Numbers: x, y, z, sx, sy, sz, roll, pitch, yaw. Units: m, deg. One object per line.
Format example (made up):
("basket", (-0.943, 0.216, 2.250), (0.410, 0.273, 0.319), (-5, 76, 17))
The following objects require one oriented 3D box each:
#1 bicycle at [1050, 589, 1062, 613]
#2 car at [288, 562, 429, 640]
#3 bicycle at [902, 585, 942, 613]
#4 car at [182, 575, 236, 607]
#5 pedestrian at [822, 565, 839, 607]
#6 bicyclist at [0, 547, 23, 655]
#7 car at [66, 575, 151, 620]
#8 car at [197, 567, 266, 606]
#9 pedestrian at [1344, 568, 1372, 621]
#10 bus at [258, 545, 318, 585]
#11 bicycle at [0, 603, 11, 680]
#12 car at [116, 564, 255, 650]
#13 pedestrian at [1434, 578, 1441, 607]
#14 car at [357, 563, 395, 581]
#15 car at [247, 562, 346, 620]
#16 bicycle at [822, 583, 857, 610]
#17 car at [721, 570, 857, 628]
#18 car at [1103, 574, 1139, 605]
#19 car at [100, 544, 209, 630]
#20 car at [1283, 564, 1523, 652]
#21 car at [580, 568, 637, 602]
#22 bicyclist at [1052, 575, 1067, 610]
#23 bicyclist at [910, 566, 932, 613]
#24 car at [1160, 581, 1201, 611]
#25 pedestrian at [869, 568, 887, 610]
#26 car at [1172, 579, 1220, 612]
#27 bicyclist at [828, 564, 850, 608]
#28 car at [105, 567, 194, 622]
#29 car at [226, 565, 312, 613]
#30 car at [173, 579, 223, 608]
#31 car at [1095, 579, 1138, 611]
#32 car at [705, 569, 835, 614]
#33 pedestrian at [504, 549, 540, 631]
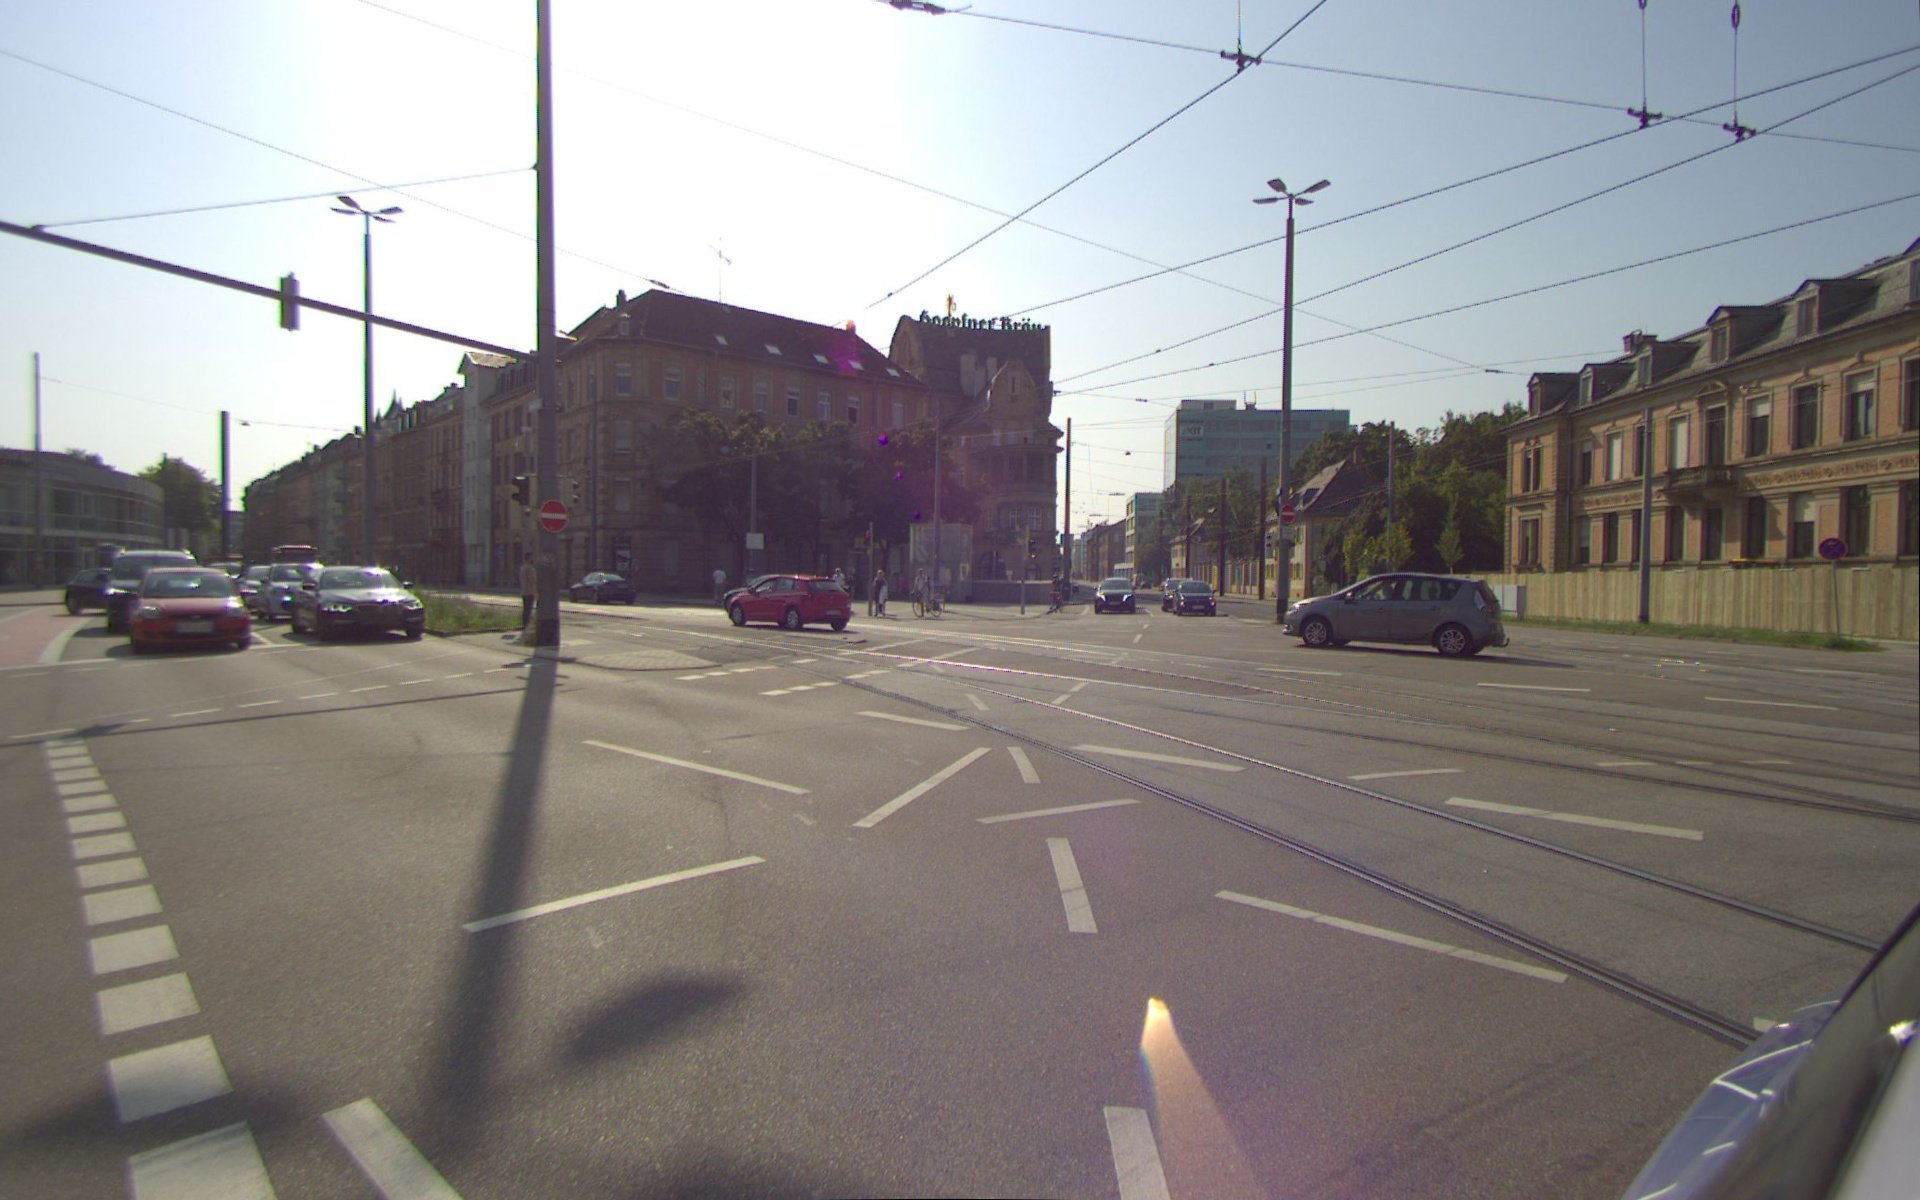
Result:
("bicycle", (4.660, 0.017, 49.027), (0.394, 1.104, 1.923), (1, 1, 10))
("car", (-12.776, -0.049, 21.373), (1.772, 1.470, 4.343), (-1, 2, -42))
("bicycle", (-1.425, -0.035, 38.142), (1.498, 1.037, 0.434), (-1, 1, -36))
("car", (-36.317, -0.474, 48.918), (1.772, 1.433, 3.993), (-1, 2, -42))
("pedestrian", (-5.368, -0.589, 42.048), (0.495, 1.748, 0.625), (0, 0, -30))
("bicyclist", (-13.823, 0.009, 13.981), (0.964, 1.493, 1.075), (1, 1, 32))
("car", (-26.640, -0.110, 31.631), (1.774, 1.298, 3.621), (-1, 2, -45))
("car", (-28.208, -0.541, 39.140), (1.772, 1.433, 3.993), (-1, 2, -42))
("pedestrian", (13.033, -0.187, 33.116), (0.786, 1.708, 0.655), (1, 1, 26))
("bus", (-53.918, -2.761, 81.004), (2.847, 3.021, 11.485), (0, 2, -40))
("bicycle", (-13.748, 0.540, 13.888), (2.181, 1.001, 0.523), (1, 2, 33))
("car", (-14.476, 0.059, 18.830), (1.772, 1.433, 3.993), (-1, 2, -42))
("pedestrian", (25.451, -0.417, 53.966), (0.232, 1.549, 0.326), (1, 1, 4))
("car", (-45.653, -2.201, 79.043), (1.713, 1.366, 3.771), (-1, 2, -44))
("car", (-18.138, -0.280, 27.605), (1.772, 1.453, 3.551), (-1, 2, -42))
("bicycle", (-4.776, -0.155, 40.254), (0.432, 1.037, 1.504), (1, 1, 41))
("car", (-4.702, -0.070, 27.575), (3.765, 1.466, 1.652), (1, 1, 41))
("car", (9.065, -0.612, 57.133), (1.895, 1.656, 3.991), (0, 1, 8))
("car", (-19.193, -0.341, 24.023), (1.772, 1.850, 4.765), (-1, 2, -42))
("car", (9.141, 0.109, 21.047), (4.266, 1.644, 1.790), (1, 0, 38))
("car", (-15.992, -0.694, 45.936), (1.706, 1.478, 3.844), (0, 2, -31))
("bicyclist", (4.827, -0.386, 48.926), (0.652, 1.657, 0.916), (1, 1, 10))
("bicyclist", (-1.464, -0.390, 38.102), (0.576, 1.752, 0.595), (0, 0, -37))
("car", (10.787, -0.228, 49.692), (1.665, 1.343, 3.991), (0, 1, 8))
("pedestrian", (-3.284, -0.434, 40.335), (0.522, 1.661, 0.497), (1, 0, 45))
("car", (10.078, -0.220, 43.480), (1.665, 1.343, 3.991), (0, 1, 8))
("bicyclist", (-4.800, -0.549, 40.230), (0.645, 1.738, 0.578), (1, 0, 42))
("car", (-22.924, -0.197, 28.590), (1.772, 1.459, 3.625), (-1, 2, -42))
("car", (-22.162, -0.376, 32.398), (1.772, 1.433, 3.993), (-1, 2, -42))
("car", (-40.068, -0.354, 53.166), (1.772, 1.433, 3.993), (-1, 2, -42))
("car", (7.260, -0.275, 47.215), (1.895, 1.393, 3.991), (0, 1, 8))
("car", (-6.678, -0.326, 35.343), (4.718, 1.493, 1.888), (1, 1, 39))
("pedestrian", (-9.557, -0.220, 22.083), (0.596, 1.752, 0.518), (1, 1, 43))
